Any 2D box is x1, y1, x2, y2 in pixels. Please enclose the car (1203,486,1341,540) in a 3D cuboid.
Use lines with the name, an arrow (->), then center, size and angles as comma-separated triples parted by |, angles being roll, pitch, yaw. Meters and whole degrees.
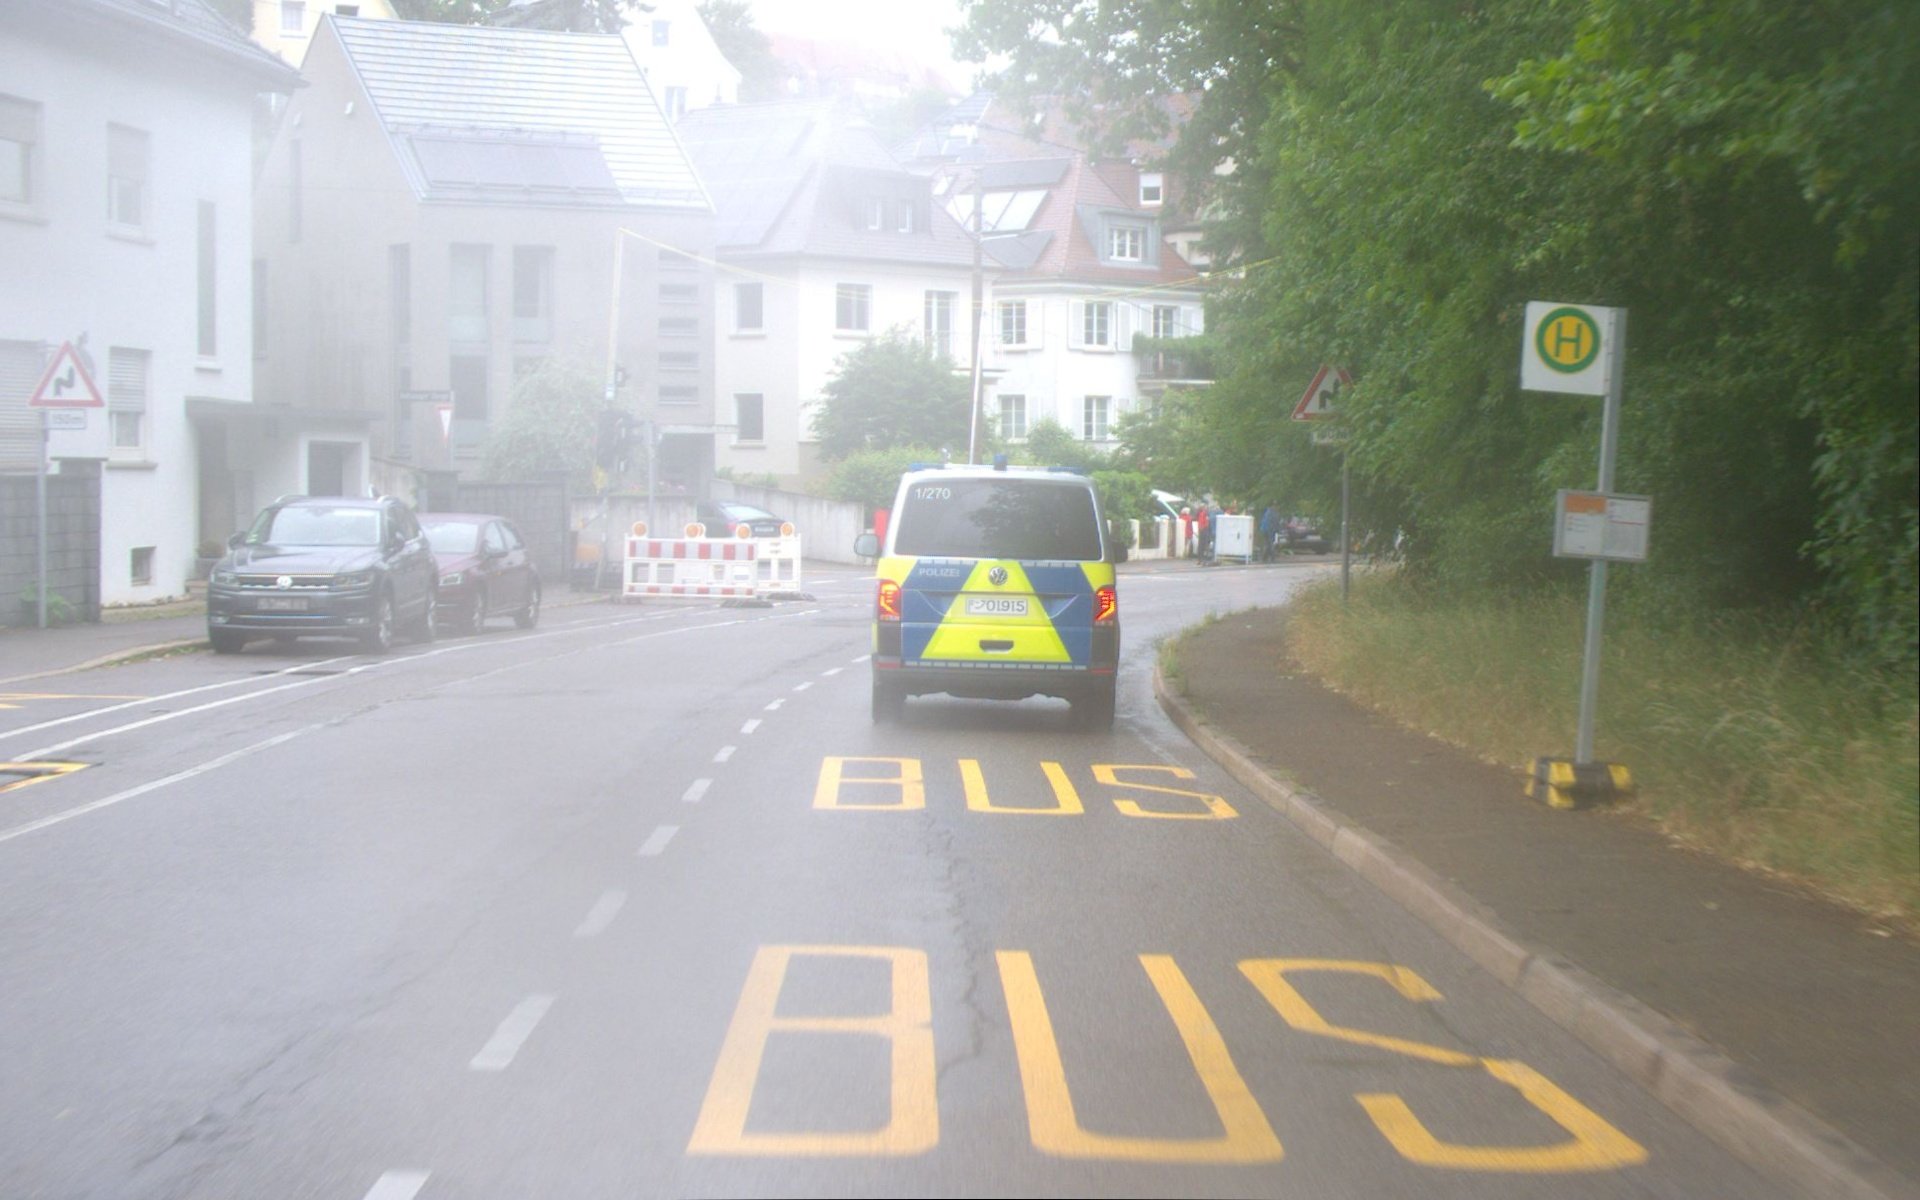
car -> 10.008, -2.792, 110.293 | 3.994, 1.481, 1.757 | 3, 0, 29

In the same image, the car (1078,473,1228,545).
car -> 5.692, -2.702, 101.638 | 3.994, 2.006, 1.827 | 3, 2, 30

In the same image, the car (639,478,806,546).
car -> -5.445, -2.015, 78.458 | 1.834, 1.438, 3.999 | -1, 3, -38

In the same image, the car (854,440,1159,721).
car -> 0.461, -0.217, 27.261 | 1.994, 2.006, 4.401 | -1, 2, 6

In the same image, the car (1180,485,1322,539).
car -> 9.162, -2.776, 108.313 | 3.994, 1.481, 1.757 | 3, 0, 29

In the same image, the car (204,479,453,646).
car -> -6.740, -0.454, 37.126 | 1.754, 1.653, 4.405 | -1, 2, 1

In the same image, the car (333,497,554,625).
car -> -6.331, -0.521, 42.576 | 1.617, 1.435, 4.229 | 1, 2, 7
